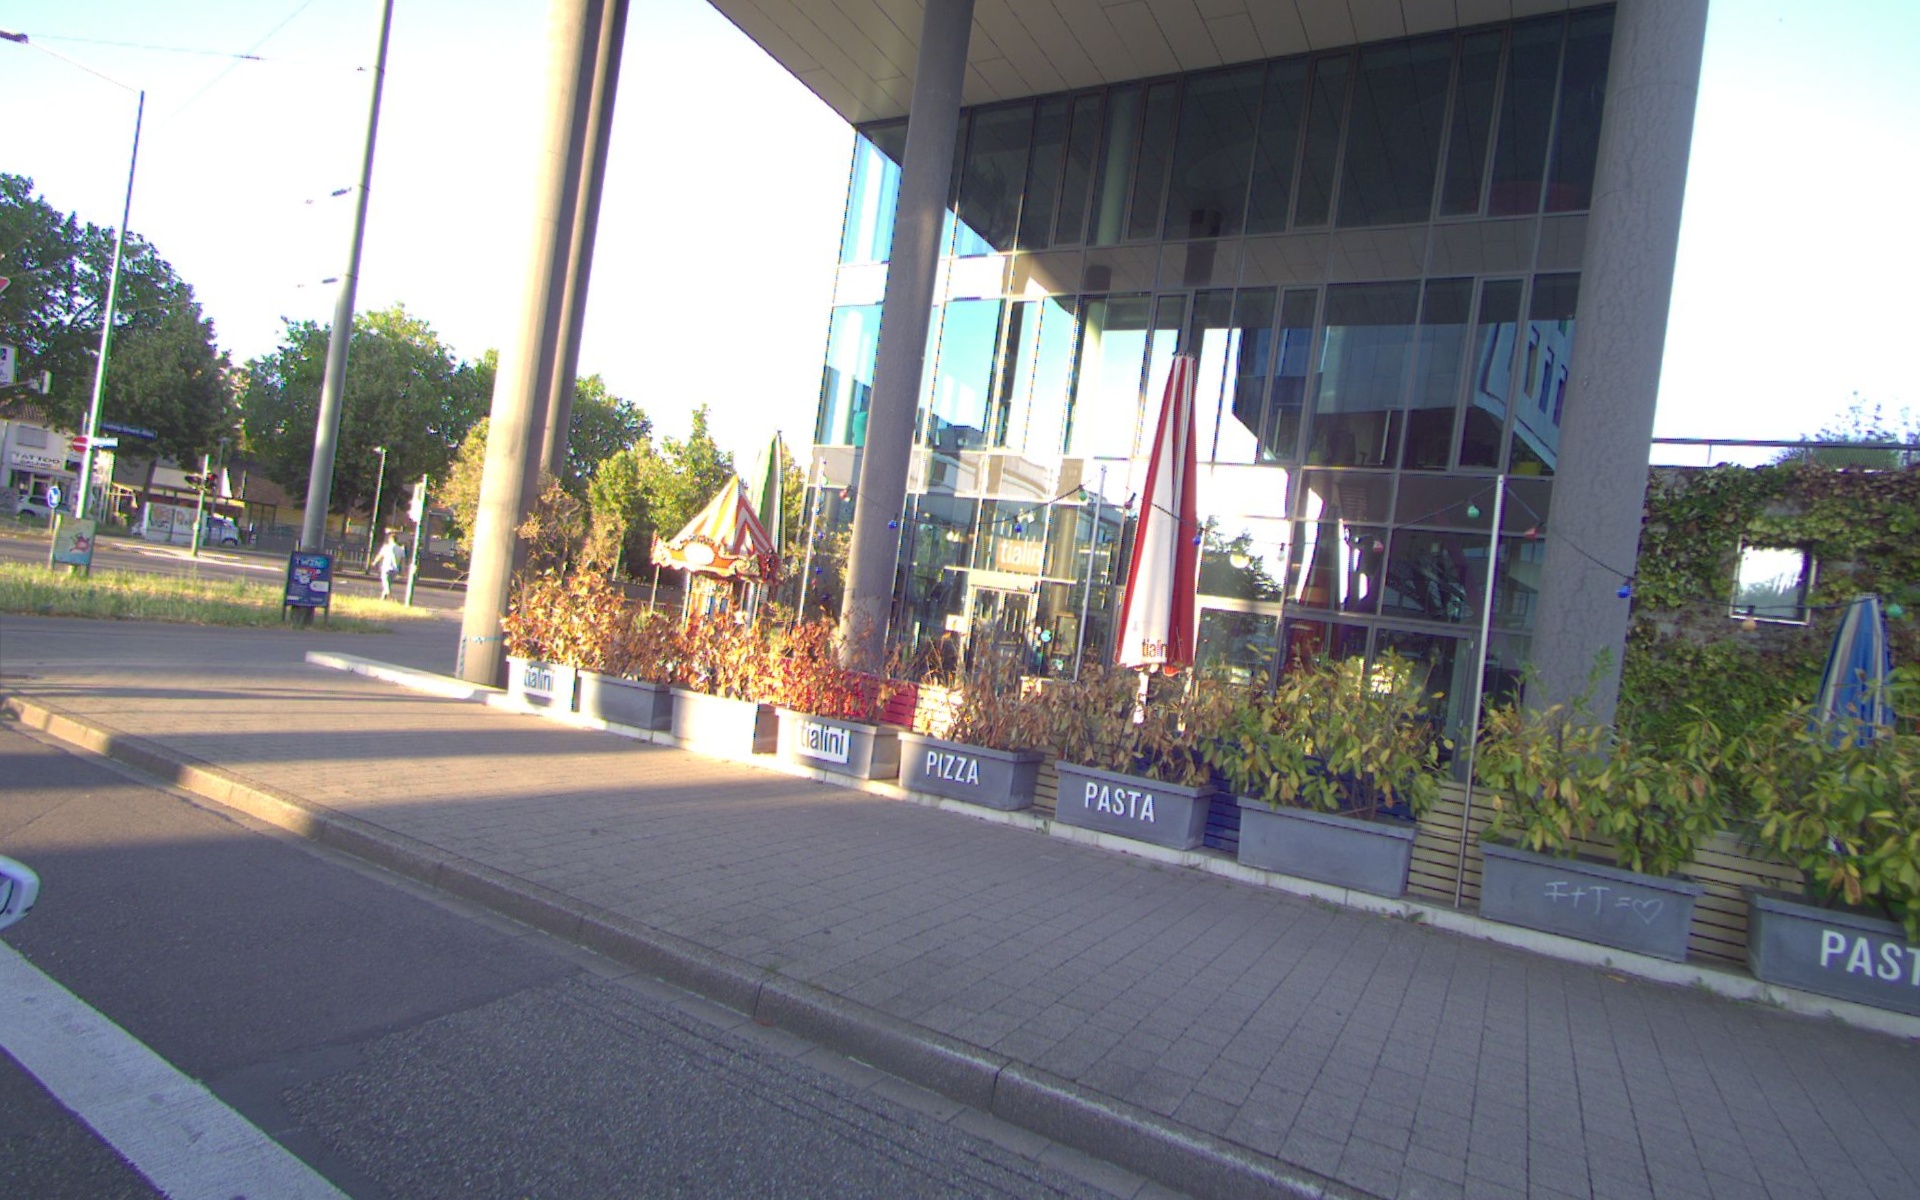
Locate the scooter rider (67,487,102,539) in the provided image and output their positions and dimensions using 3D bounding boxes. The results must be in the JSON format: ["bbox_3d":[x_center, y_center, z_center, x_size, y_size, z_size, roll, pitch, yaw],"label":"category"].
[{"bbox_3d":[-34.047,-3.388,39.126,0.658,1.876,0.703,7,-1,31],"label":"scooter rider"}]

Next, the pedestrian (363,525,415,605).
[{"bbox_3d":[-13.860,-0.857,24.416,0.758,1.812,0.793,8,-1,-40],"label":"pedestrian"}]

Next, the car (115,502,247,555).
[{"bbox_3d":[-37.389,-3.405,48.437,1.829,1.748,4.547,7,-2,27],"label":"car"}]

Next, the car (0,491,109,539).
[{"bbox_3d":[-50.515,-4.708,56.028,1.968,1.868,4.236,7,-2,34],"label":"car"}]

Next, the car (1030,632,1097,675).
[{"bbox_3d":[5.791,3.014,55.871,1.826,1.849,4.390,10,0,31],"label":"car"}]

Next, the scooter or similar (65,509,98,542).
[{"bbox_3d":[-34.160,-2.895,39.117,1.222,1.103,0.511,7,-1,32],"label":"scooter or similar"}]

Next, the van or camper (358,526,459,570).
[{"bbox_3d":[-43.973,-4.118,80.433,2.229,2.438,6.569,7,-2,36],"label":"van or camper"}]

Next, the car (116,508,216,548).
[{"bbox_3d":[-47.774,-4.323,60.633,1.968,1.595,4.236,7,-2,34],"label":"car"}]
